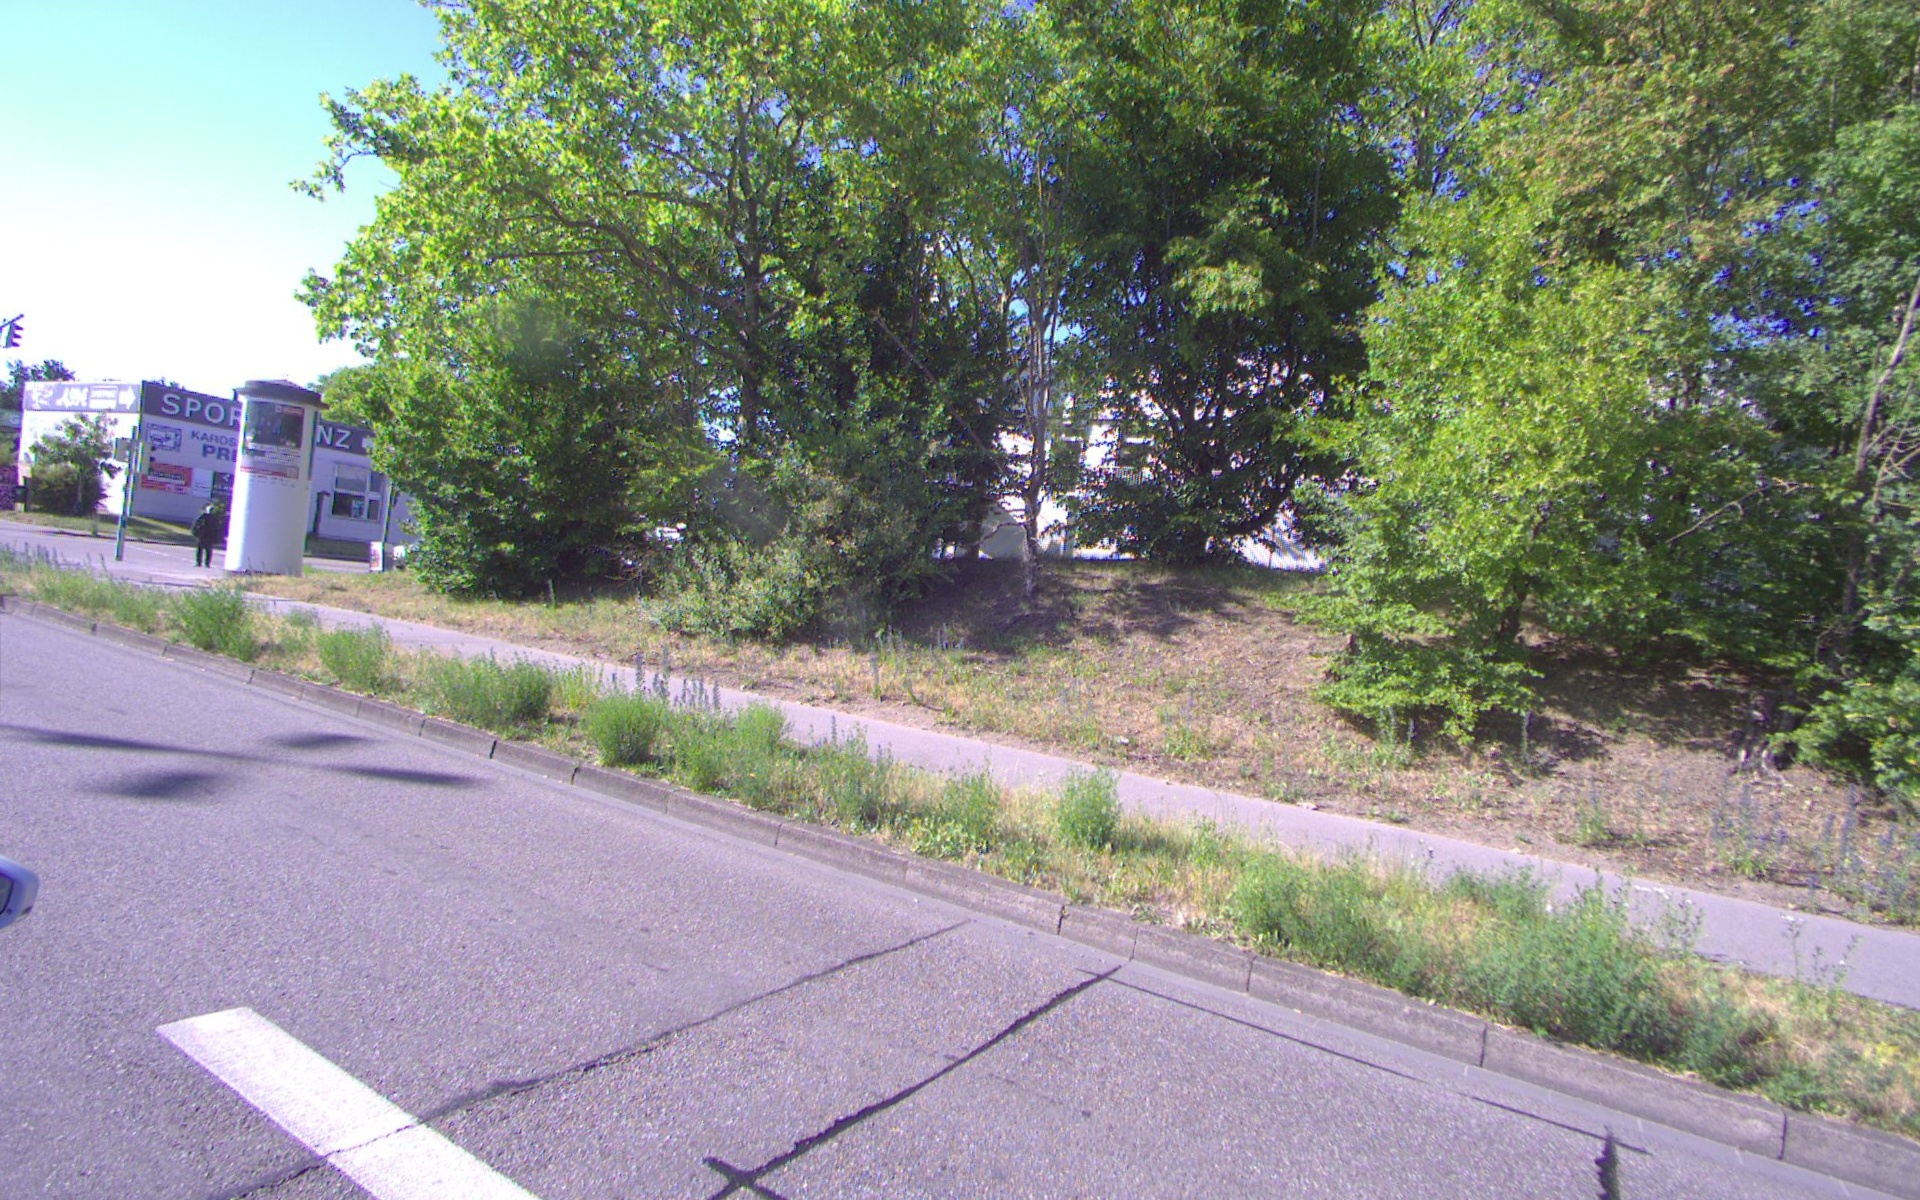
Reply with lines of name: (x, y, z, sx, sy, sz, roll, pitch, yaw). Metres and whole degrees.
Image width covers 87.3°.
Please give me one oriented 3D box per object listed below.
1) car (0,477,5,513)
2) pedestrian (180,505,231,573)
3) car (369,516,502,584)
car: (-48.305, -5.349, 47.684, 1.663, 1.726, 4.003, 7, -1, 16)
pedestrian: (-20.979, -1.690, 27.972, 0.841, 1.743, 0.822, 7, 0, 39)
car: (-21.805, -2.028, 41.997, 1.965, 2.171, 4.415, 7, -1, 28)
